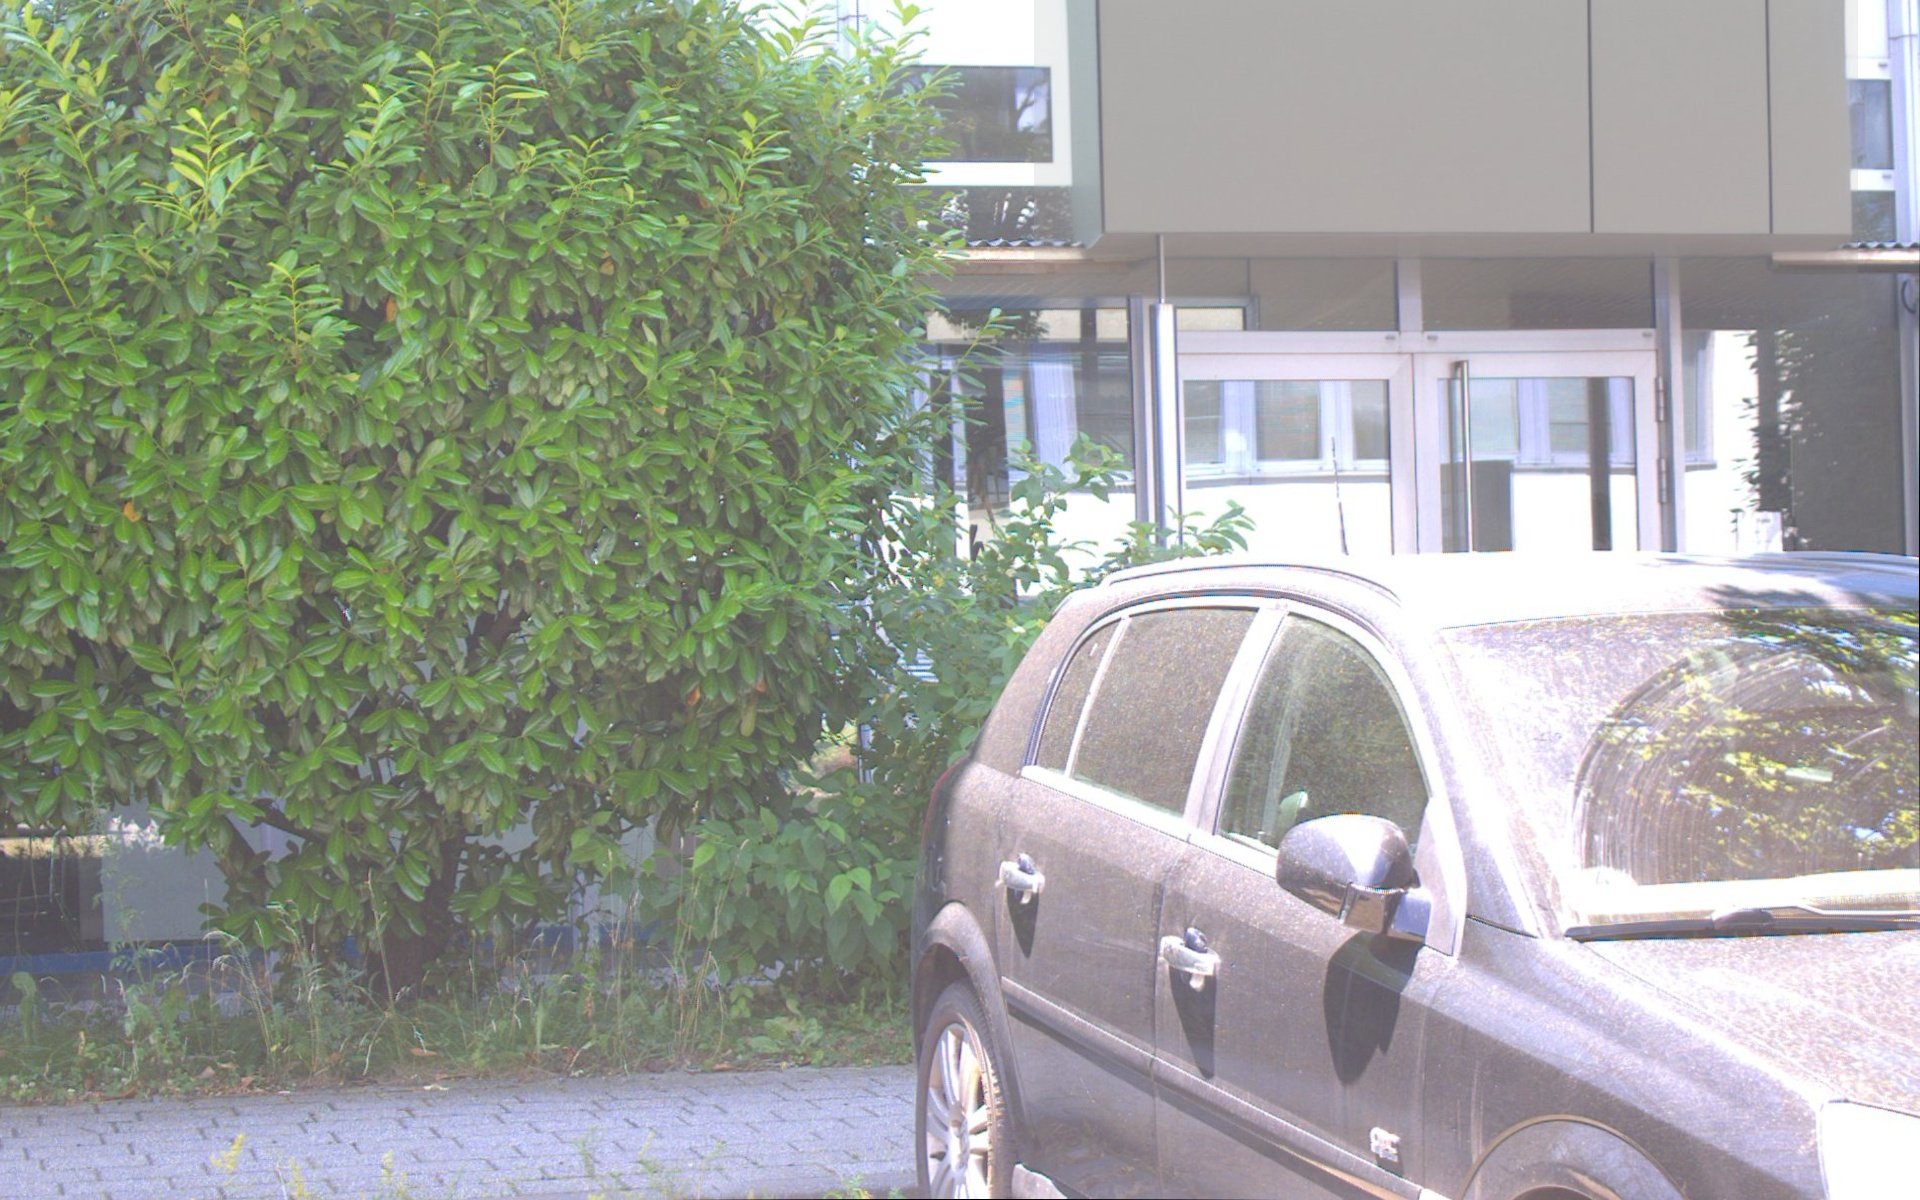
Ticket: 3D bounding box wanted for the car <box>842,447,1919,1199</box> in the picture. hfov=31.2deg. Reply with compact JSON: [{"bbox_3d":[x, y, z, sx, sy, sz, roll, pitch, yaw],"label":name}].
[{"bbox_3d":[1.175,0.621,5.556,1.757,1.544,4.567,0,0,-15],"label":"car"}]
